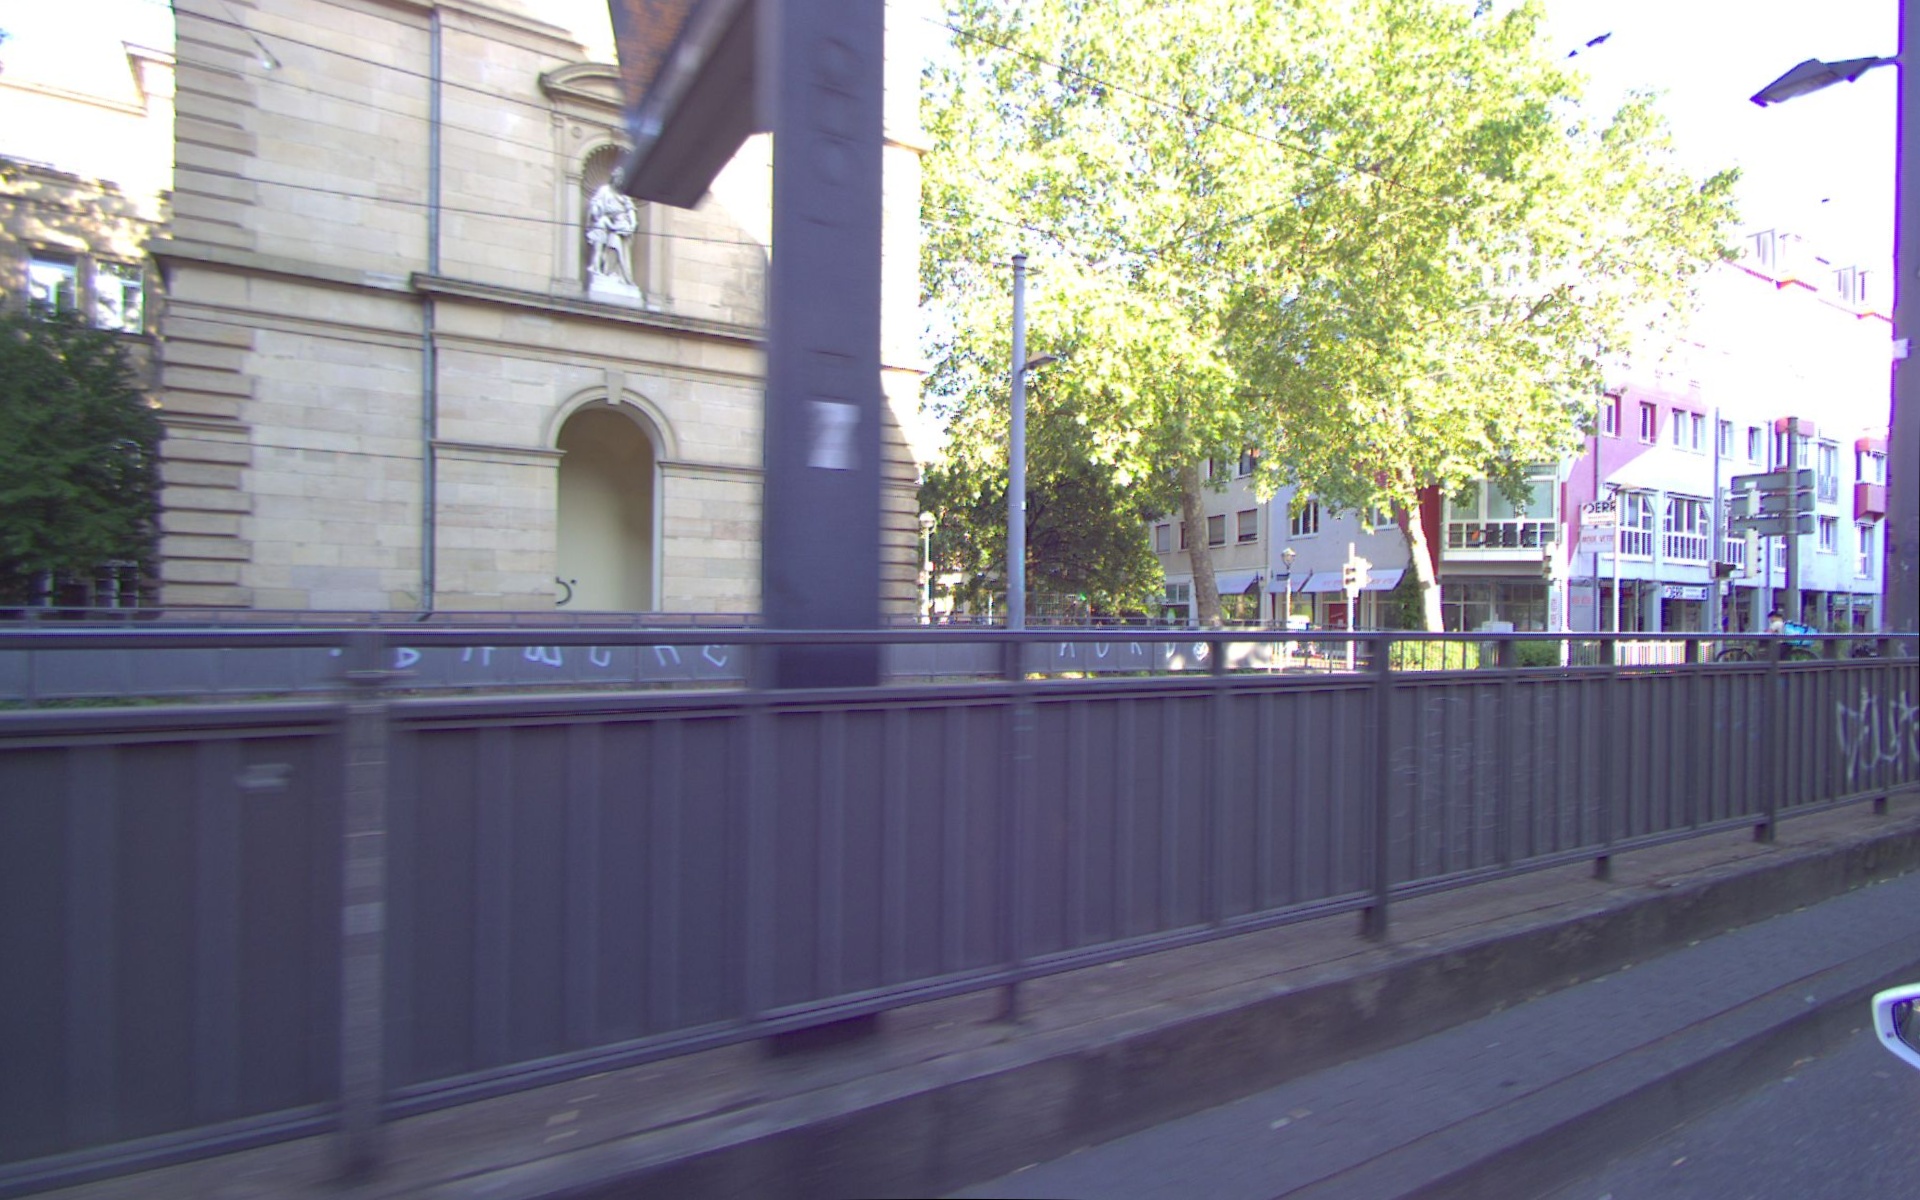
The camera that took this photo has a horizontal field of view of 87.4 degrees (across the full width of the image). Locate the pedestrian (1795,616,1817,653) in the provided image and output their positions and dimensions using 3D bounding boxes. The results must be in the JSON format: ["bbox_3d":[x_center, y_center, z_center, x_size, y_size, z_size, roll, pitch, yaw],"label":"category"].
[{"bbox_3d":[39.781,1.621,47.240,0.737,1.735,0.610,1,0,-32],"label":"pedestrian"}]

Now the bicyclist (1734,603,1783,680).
[{"bbox_3d":[18.225,0.936,22.923,0.528,1.735,0.739,1,0,-33],"label":"bicyclist"}]

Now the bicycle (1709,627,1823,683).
[{"bbox_3d":[18.269,1.225,22.814,0.578,1.092,1.881,1,2,-34],"label":"bicycle"}]

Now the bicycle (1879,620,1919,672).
[{"bbox_3d":[21.247,1.045,21.727,0.577,1.092,1.885,1,2,-28],"label":"bicycle"}]

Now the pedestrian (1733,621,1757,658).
[{"bbox_3d":[37.000,1.852,47.351,0.609,1.735,0.738,1,0,-34],"label":"pedestrian"}]

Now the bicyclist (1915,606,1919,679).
[{"bbox_3d":[21.272,0.934,21.728,0.527,1.599,0.740,1,0,-27],"label":"bicyclist"}]

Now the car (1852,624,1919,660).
[{"bbox_3d":[41.974,1.879,44.988,4.657,1.458,1.858,1,0,-33],"label":"car"}]

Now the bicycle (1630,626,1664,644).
[{"bbox_3d":[25.960,1.316,37.955,1.793,0.667,0.452,1,2,-36],"label":"bicycle"}]
